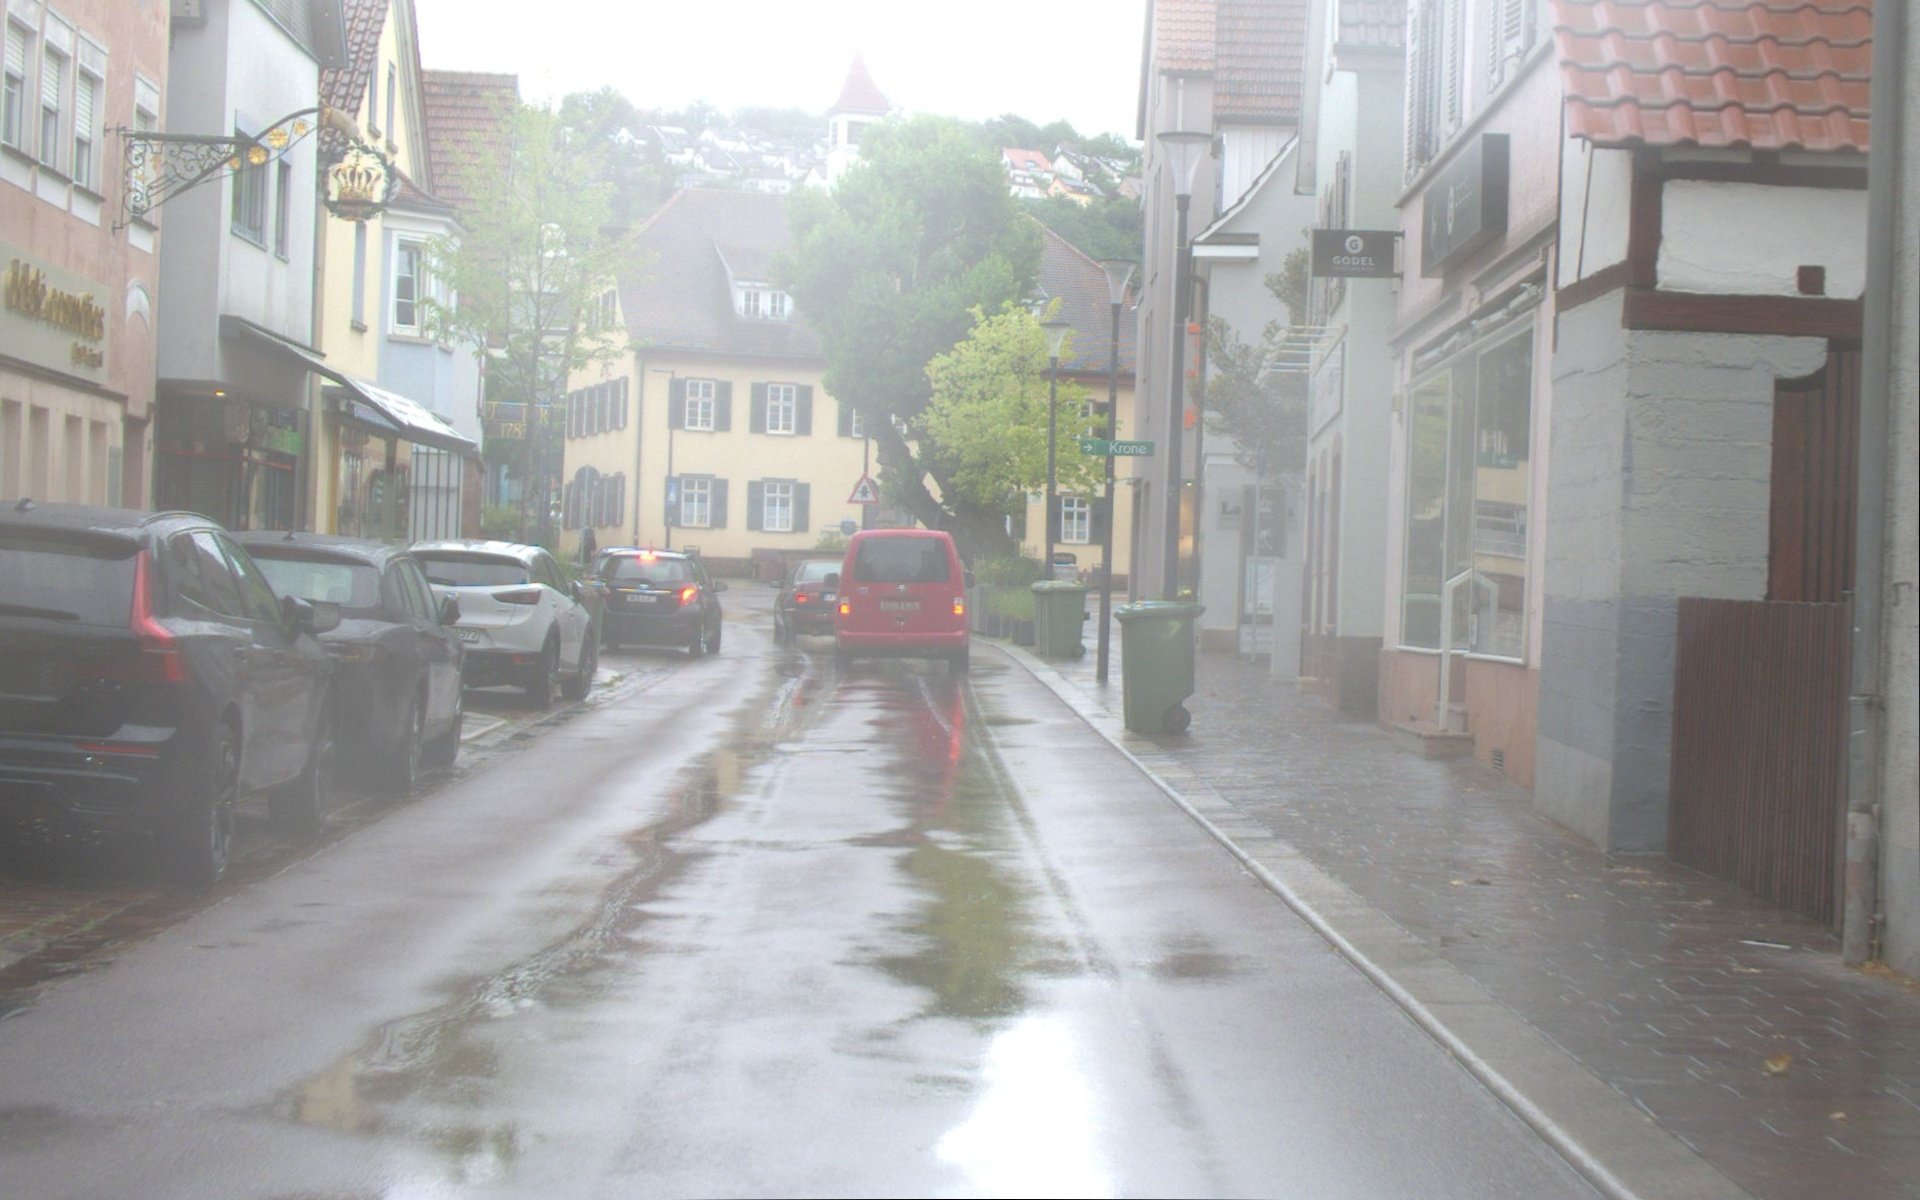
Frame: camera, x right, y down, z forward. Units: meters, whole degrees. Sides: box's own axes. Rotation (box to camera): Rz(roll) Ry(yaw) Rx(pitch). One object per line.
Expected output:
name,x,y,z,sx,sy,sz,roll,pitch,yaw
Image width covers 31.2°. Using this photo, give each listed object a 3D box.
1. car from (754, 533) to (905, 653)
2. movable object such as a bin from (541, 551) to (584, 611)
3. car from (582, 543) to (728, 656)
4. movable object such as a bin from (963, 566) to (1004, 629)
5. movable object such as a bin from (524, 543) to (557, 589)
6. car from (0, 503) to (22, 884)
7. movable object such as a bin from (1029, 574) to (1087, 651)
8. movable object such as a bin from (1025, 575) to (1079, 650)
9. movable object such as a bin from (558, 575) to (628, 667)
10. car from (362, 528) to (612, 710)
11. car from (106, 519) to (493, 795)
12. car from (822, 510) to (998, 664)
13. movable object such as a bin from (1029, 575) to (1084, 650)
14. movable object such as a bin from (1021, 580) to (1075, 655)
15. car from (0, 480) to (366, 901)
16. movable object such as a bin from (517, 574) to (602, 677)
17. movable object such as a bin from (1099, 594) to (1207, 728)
car,-2.181,-0.098,56.520,1.993,1.793,4.001,3,-1,-8
movable object such as a bin,-7.603,-0.367,65.726,0.725,1.106,0.597,3,-1,-8
car,-4.365,-0.043,49.696,1.692,1.438,3.885,3,1,0
movable object such as a bin,0.440,-0.045,65.010,0.631,1.146,0.579,3,-1,-8
movable object such as a bin,-10.408,-0.834,85.241,0.714,1.102,0.600,3,-1,-10
car,-4.180,0.426,9.510,1.824,1.660,4.642,3,-1,0
movable object such as a bin,1.434,0.184,50.323,0.768,1.076,0.599,3,-1,0
movable object such as a bin,1.377,0.189,51.538,0.729,1.087,0.521,3,-1,0
movable object such as a bin,-4.366,0.256,40.931,0.709,1.049,0.704,3,-1,0
car,-4.504,0.127,33.261,1.692,1.533,4.121,4,1,1
car,-4.203,0.288,22.505,1.780,1.533,4.290,3,2,-2
car,-0.609,-0.206,45.202,1.894,1.805,4.000,4,1,3
movable object such as a bin,1.427,0.184,50.956,0.754,1.060,0.600,3,-1,0
movable object such as a bin,1.331,0.265,52.175,0.735,1.094,0.611,3,-1,-1
car,-4.157,0.299,16.625,1.824,1.660,4.643,3,2,-2
movable object such as a bin,-4.475,0.284,38.426,0.787,1.081,0.693,4,1,2
movable object such as a bin,1.603,0.505,28.622,0.792,1.077,0.615,2,0,-3
